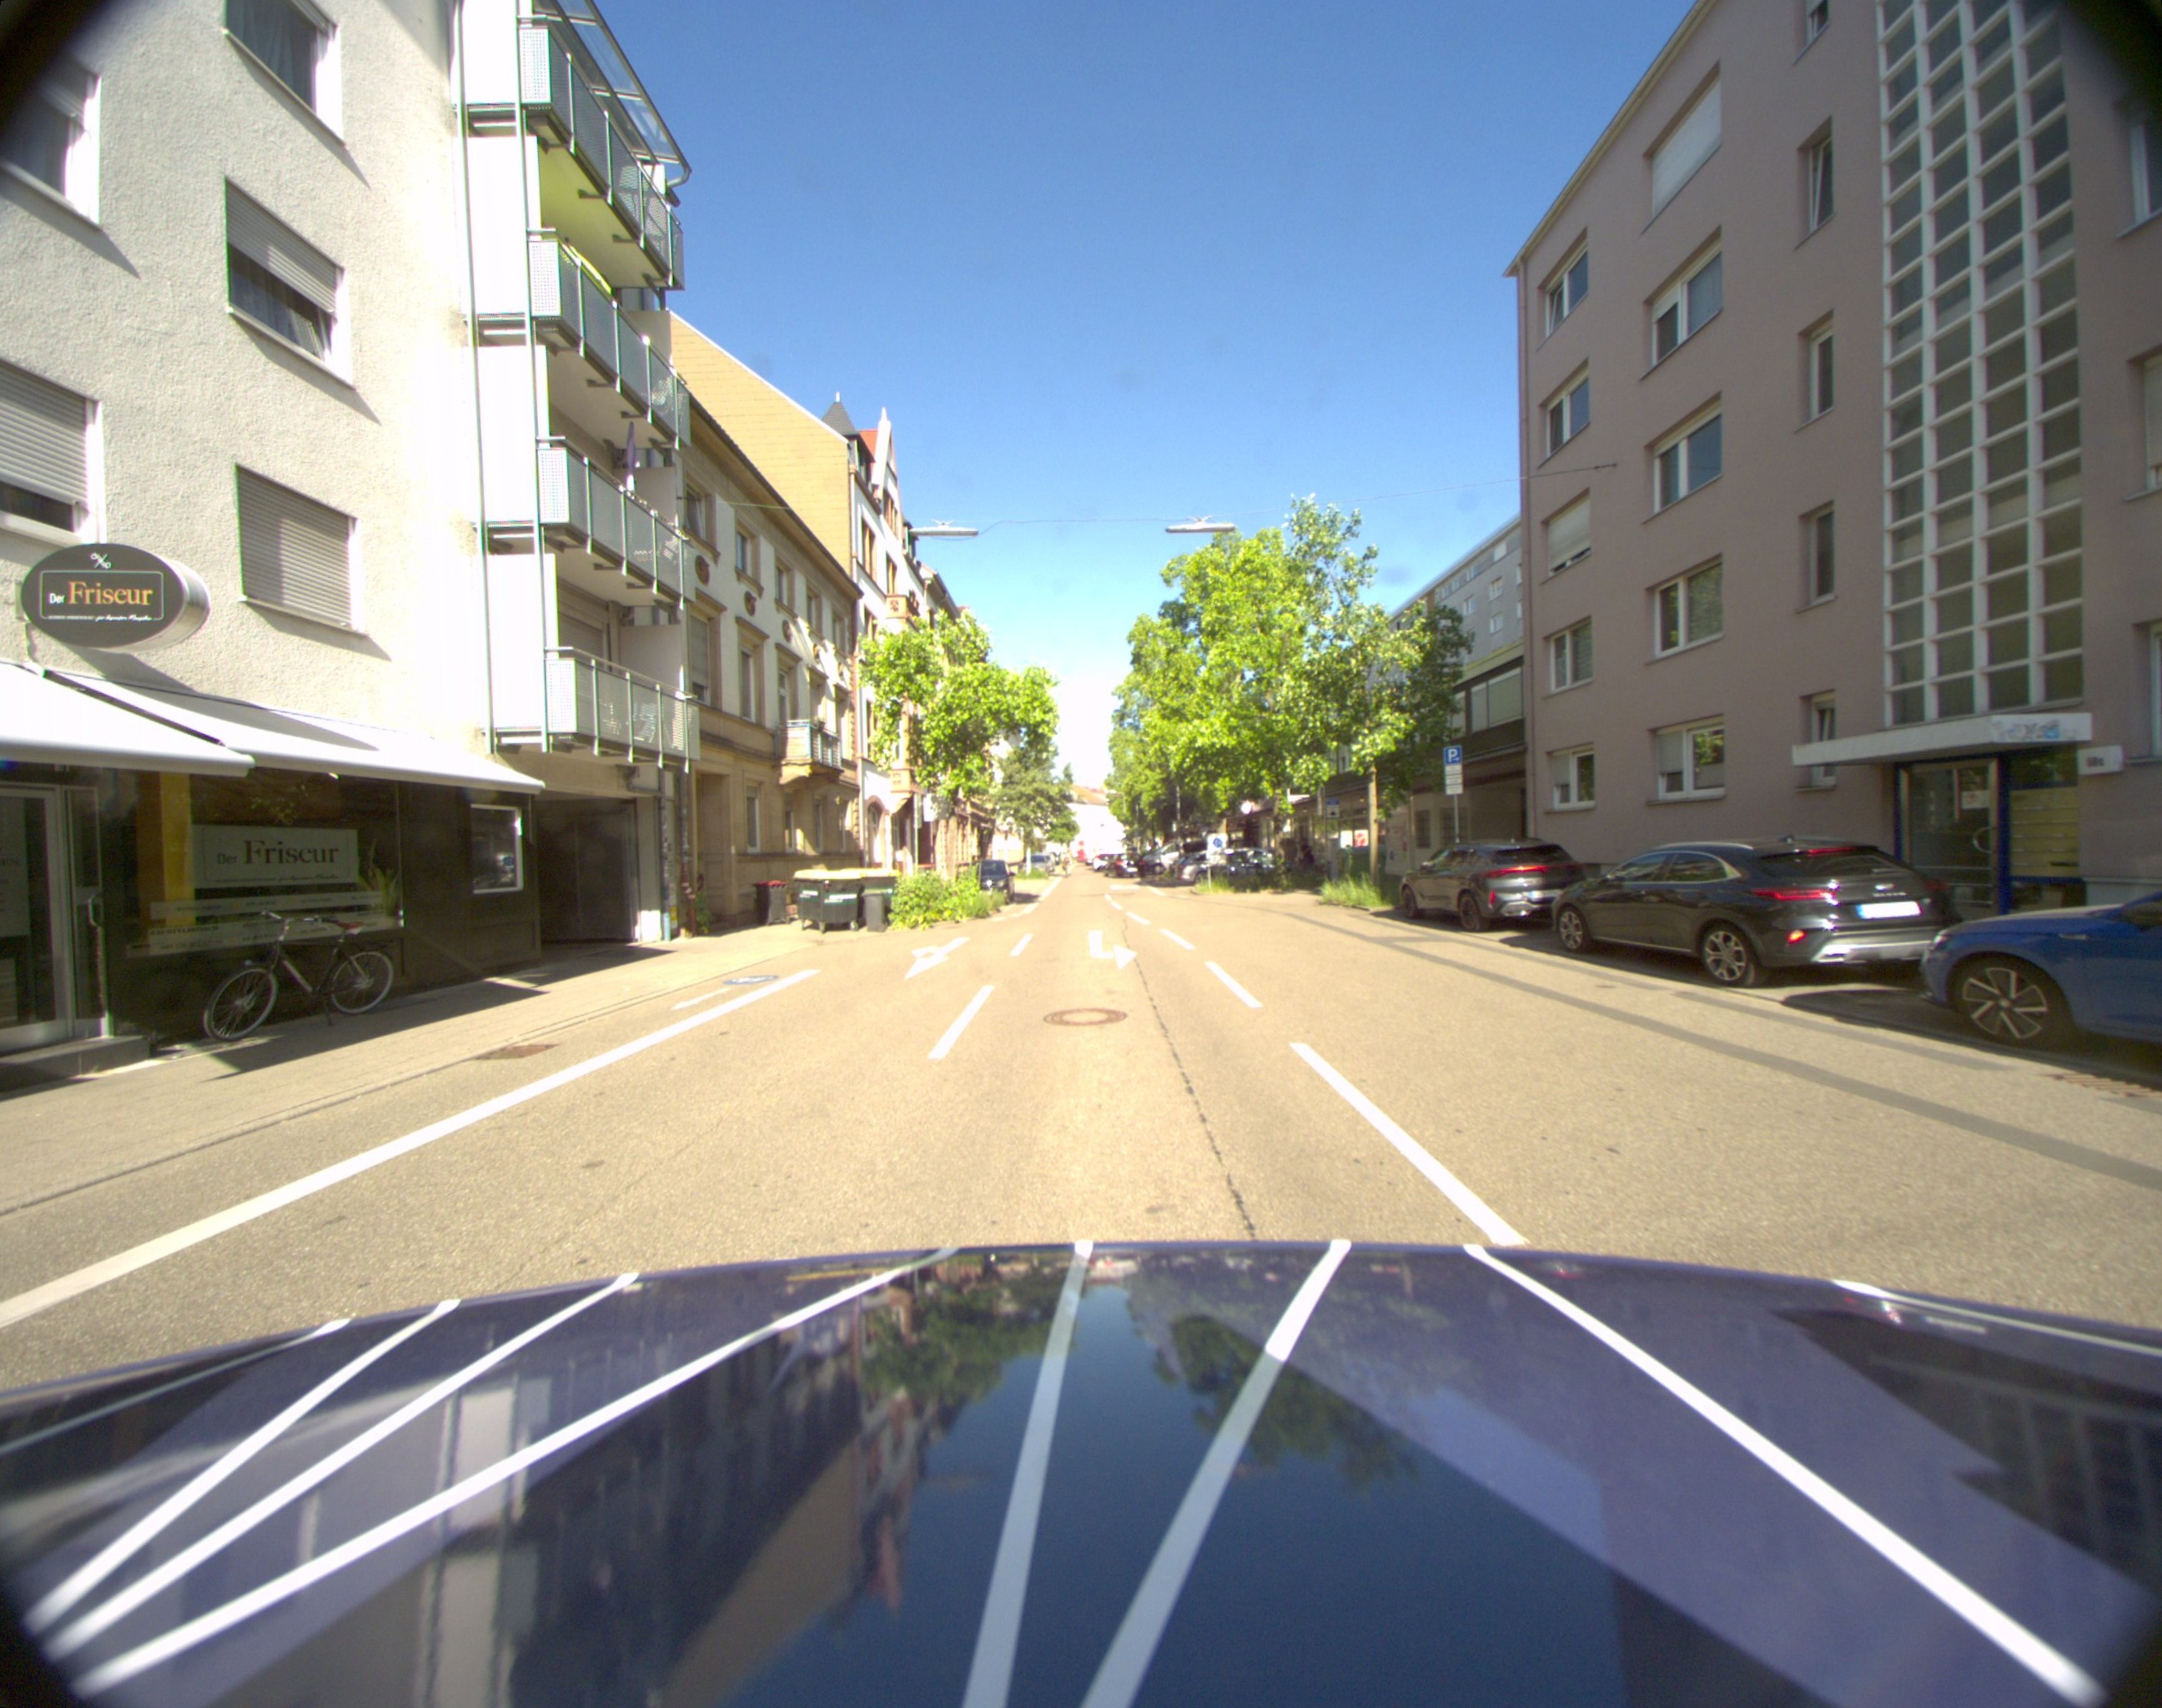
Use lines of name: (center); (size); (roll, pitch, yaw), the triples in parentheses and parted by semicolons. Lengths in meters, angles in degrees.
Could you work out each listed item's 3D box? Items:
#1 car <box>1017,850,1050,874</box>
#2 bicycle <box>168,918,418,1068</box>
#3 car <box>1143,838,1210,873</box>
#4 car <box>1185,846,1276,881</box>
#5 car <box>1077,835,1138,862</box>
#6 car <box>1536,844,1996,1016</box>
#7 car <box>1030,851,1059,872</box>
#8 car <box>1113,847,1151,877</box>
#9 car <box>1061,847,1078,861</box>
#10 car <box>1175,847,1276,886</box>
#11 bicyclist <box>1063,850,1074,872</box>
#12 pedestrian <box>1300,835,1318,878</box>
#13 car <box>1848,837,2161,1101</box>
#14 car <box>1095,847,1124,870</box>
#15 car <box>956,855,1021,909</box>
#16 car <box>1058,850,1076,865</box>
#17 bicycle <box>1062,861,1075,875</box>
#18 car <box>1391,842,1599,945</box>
car: (-2.936, 0.470, 47.621); (1.914, 1.444, 3.546); (-2, 1, -1)
bicycle: (-7.634, 1.286, 7.499); (0.598, 1.137, 1.774); (1, 1, 1)
car: (5.856, 0.072, 46.923); (3.875, 2.031, 1.913); (-2, 1, 3)
car: (7.015, 0.434, 36.021); (3.996, 1.543, 1.913); (-2, 1, 3)
car: (2.578, -0.555, 73.261); (5.568, 2.379, 1.974); (-2, 1, -26)
car: (7.460, 0.676, 8.979); (1.727, 1.459, 4.158); (-4, 0, 2)
car: (-2.745, 0.552, 57.660); (1.914, 1.444, 3.547); (-2, 1, 1)
car: (2.854, 0.414, 43.388); (1.911, 1.543, 3.999); (-2, 1, 0)
car: (-1.284, -0.021, 86.282); (1.713, 1.444, 3.547); (-2, 1, 2)
car: (6.158, 0.507, 32.758); (3.996, 1.543, 1.913); (-2, 1, 3)
bicyclist: (-0.791, 0.415, 47.233); (0.582, 1.369, 0.665); (-2, 1, 5)
pedestrian: (9.794, 0.111, 32.645); (0.623, 1.796, 0.502); (-2, 1, 2)
car: (7.405, 0.690, 3.986); (1.828, 1.494, 4.801); (-4, 0, -1)
car: (2.006, 0.309, 54.595); (1.911, 1.543, 3.999); (-2, 1, 0)
car: (-3.015, 0.880, 25.379); (1.627, 1.587, 3.546); (-2, 1, 1)
car: (-1.441, 0.340, 80.127); (1.713, 1.444, 3.547); (-2, 1, 2)
bicycle: (-0.776, 0.871, 47.220); (0.582, 0.801, 1.710); (-2, 1, 5)
car: (7.543, 0.617, 14.371); (1.727, 1.567, 4.158); (-4, 0, 2)
